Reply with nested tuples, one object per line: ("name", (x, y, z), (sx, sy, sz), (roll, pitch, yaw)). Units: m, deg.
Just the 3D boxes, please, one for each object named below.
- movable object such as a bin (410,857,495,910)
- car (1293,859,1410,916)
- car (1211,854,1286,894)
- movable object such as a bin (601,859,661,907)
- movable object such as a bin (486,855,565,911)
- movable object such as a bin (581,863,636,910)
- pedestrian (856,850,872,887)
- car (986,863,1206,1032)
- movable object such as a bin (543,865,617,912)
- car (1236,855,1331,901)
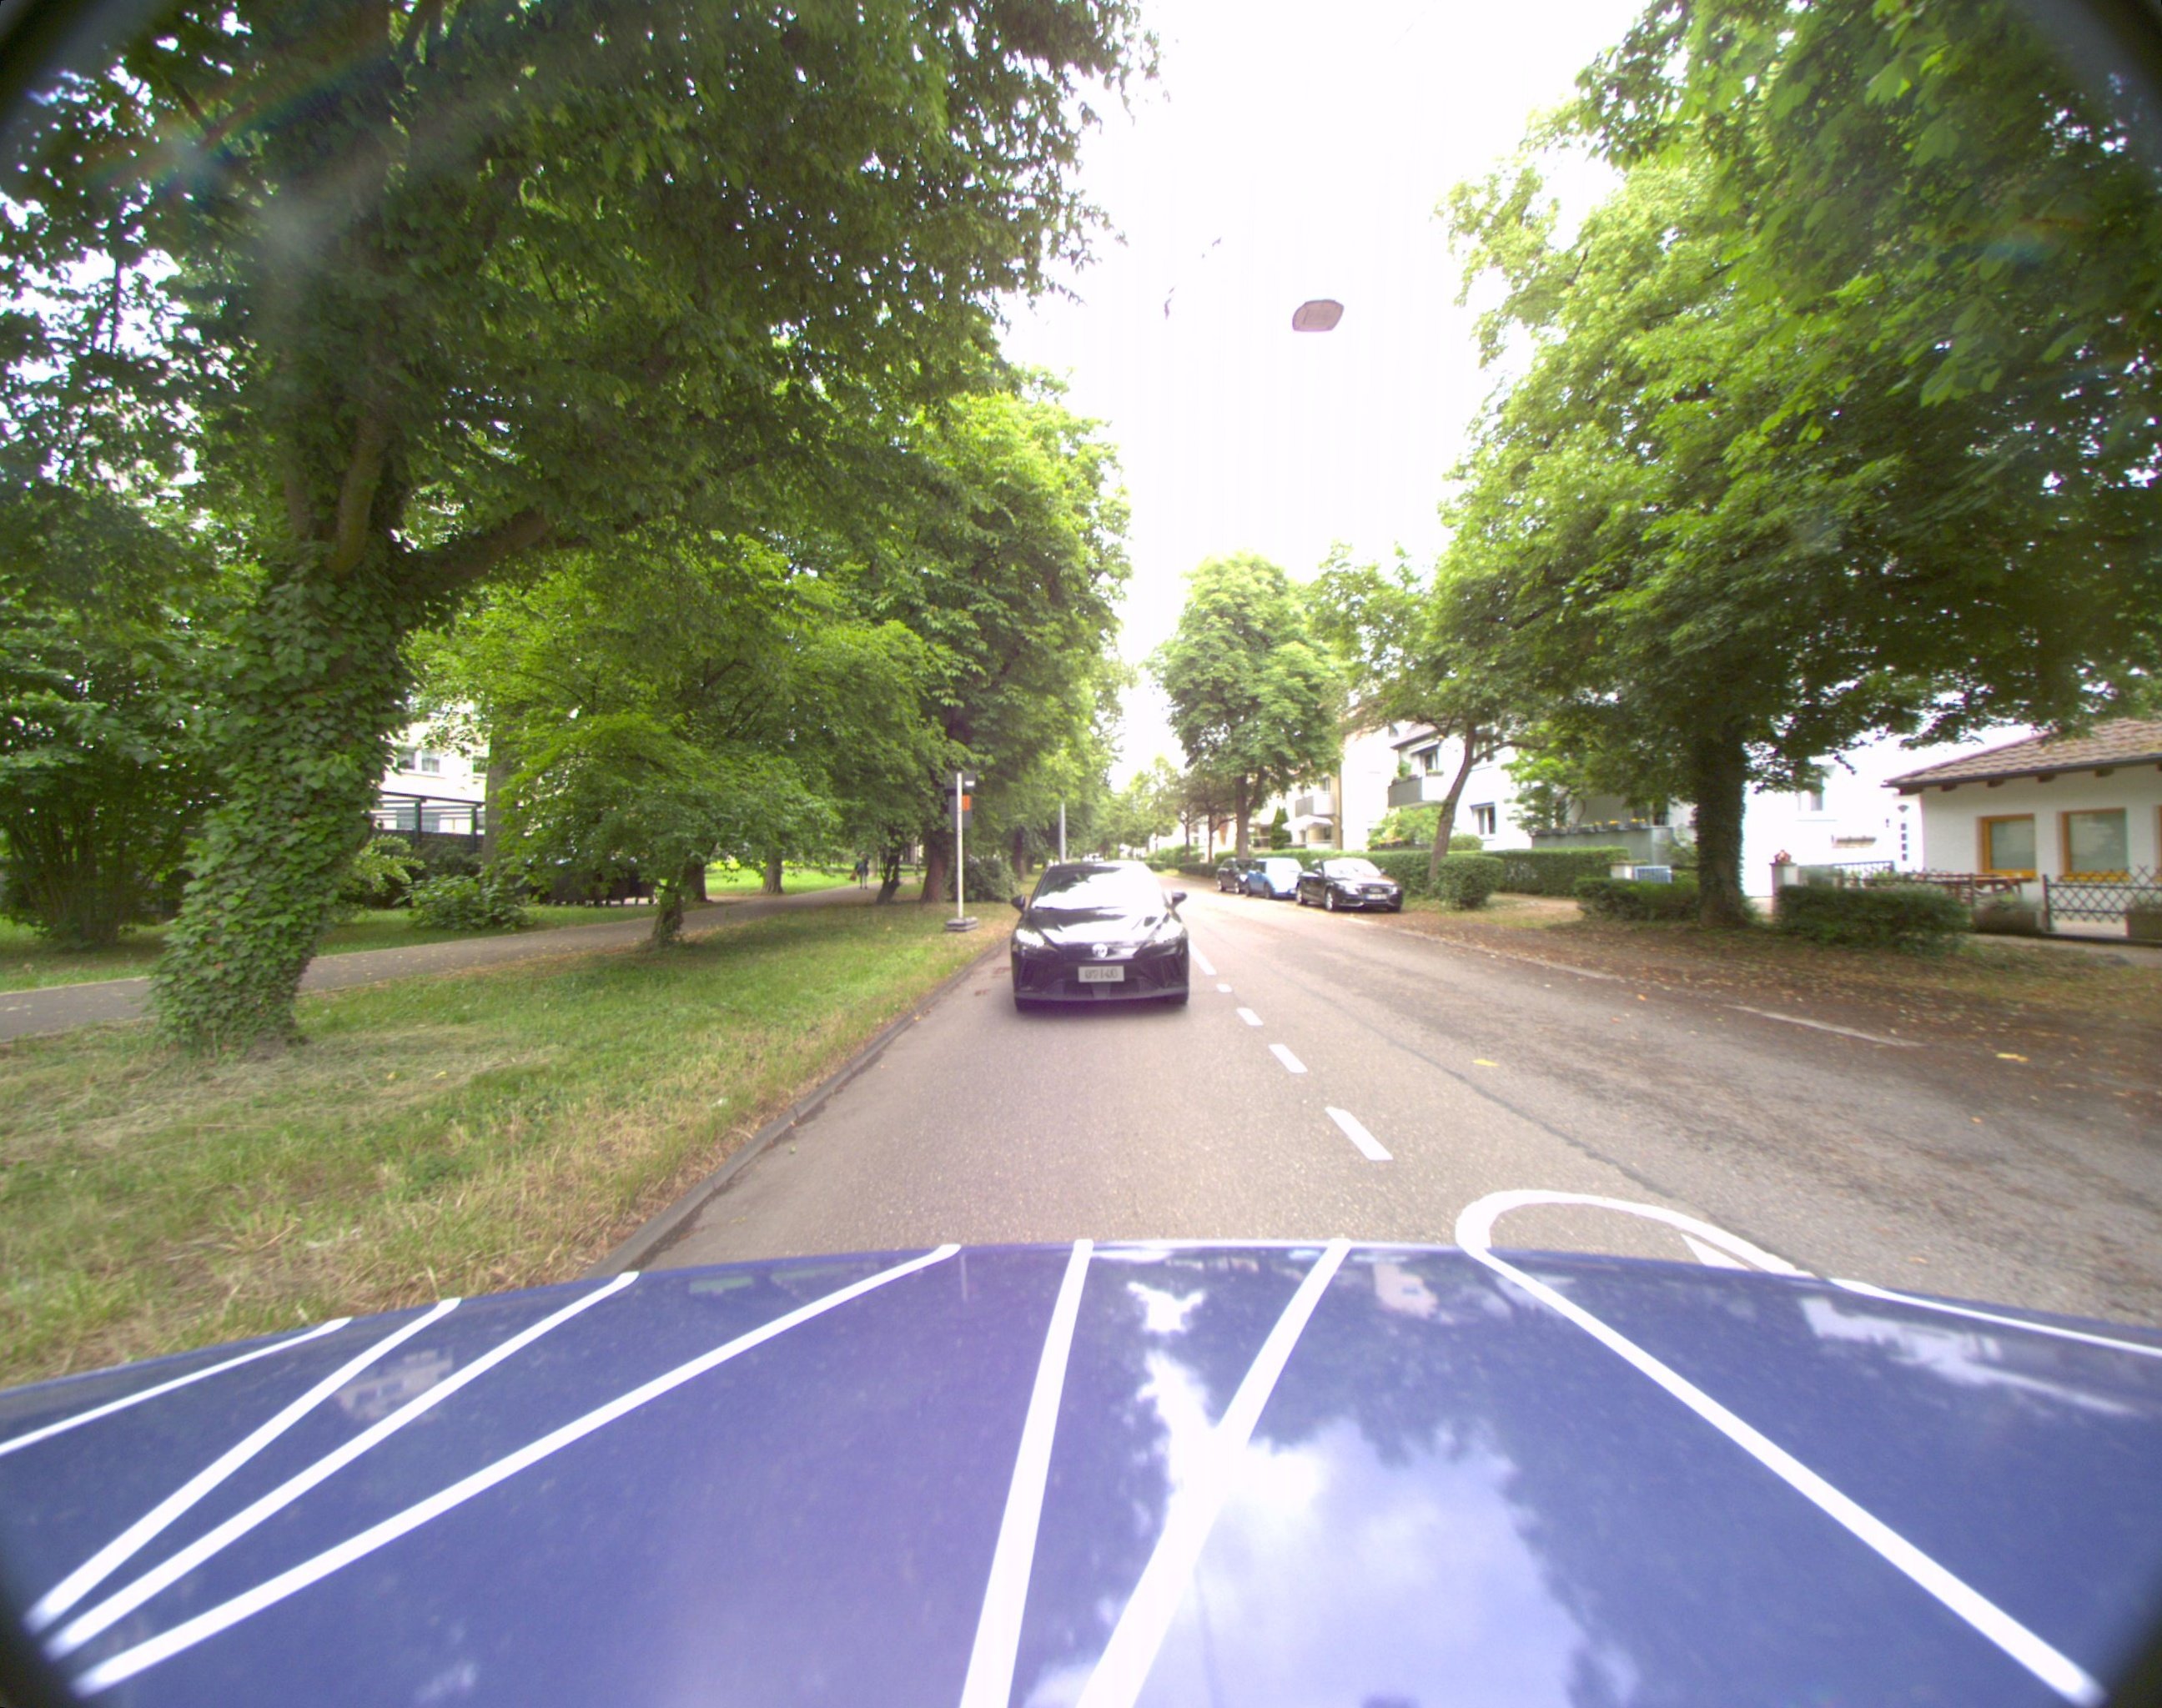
("movable object such as a bin", (-16.680, 0.758, 20.206), (1.194, 1.334, 1.348), (0, 0, -8))
("car", (7.237, 0.839, 20.753), (1.735, 1.395, 4.171), (0, 0, 0))
("car", (6.839, 0.763, 31.524), (1.889, 1.524, 4.564), (0, 0, -3))
("movable object such as a bin", (-13.426, 0.849, 22.714), (1.194, 1.405, 1.110), (0, 0, -8))
("movable object such as a bin", (-14.739, 0.739, 20.221), (1.194, 1.448, 1.348), (0, 0, -8))
("movable object such as a bin", (-13.416, 0.913, 21.621), (1.026, 1.296, 0.959), (0, 0, -8))
("pedestrian", (-10.219, 0.687, 35.845), (0.565, 1.730, 0.570), (1, 0, -1))
("car", (0.145, 0.879, 9.222), (1.998, 1.491, 4.615), (0, 0, 0))
("movable object such as a bin", (-13.423, 0.898, 20.422), (1.194, 1.213, 1.348), (0, 0, -8))
("car", (7.000, 0.780, 26.772), (1.889, 1.492, 4.564), (0, 0, -3))
